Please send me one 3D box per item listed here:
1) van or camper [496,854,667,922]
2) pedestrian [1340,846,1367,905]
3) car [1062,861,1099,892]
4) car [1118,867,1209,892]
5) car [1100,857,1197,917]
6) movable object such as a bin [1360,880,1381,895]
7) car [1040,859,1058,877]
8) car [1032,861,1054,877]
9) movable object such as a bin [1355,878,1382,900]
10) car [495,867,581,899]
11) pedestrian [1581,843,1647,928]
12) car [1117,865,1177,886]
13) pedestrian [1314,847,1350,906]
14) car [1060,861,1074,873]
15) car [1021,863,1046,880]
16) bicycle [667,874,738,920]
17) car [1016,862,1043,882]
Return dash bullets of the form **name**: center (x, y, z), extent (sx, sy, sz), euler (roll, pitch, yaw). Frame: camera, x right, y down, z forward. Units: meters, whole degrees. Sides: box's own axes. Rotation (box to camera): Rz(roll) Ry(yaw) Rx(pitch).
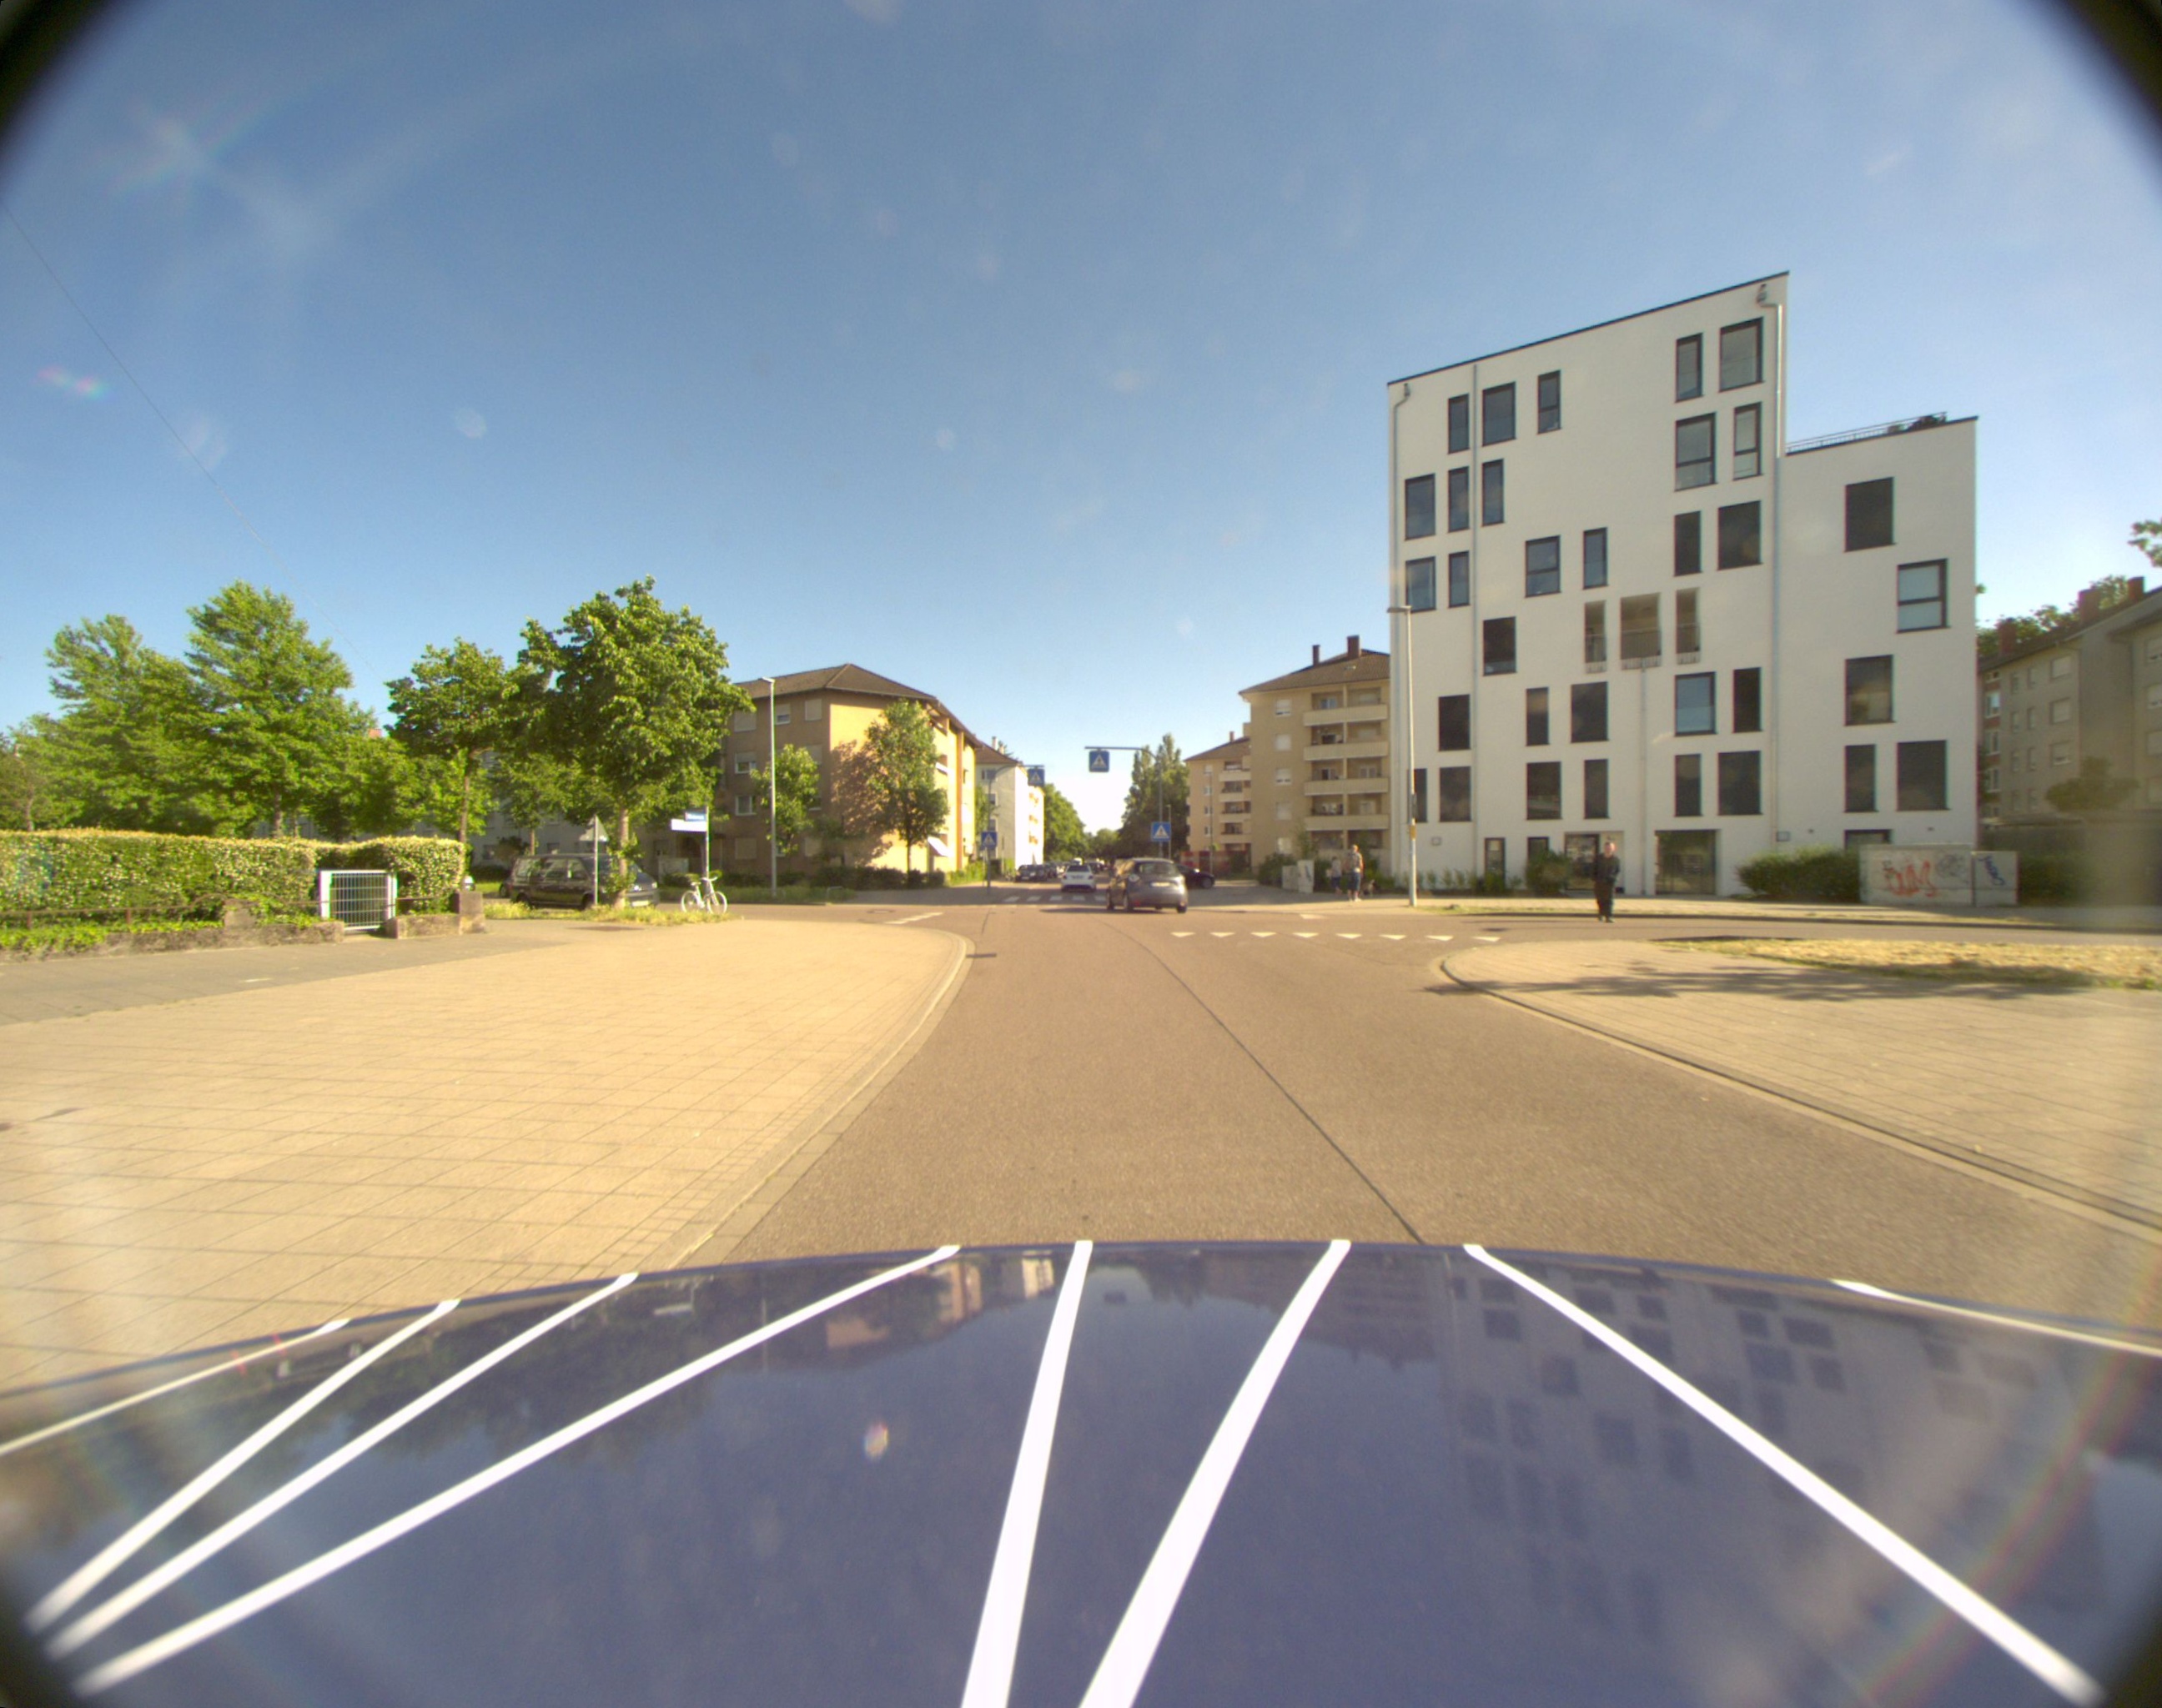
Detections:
- **van or camper**: center (-15.606, 0.968, 23.675), extent (5.372, 1.852, 1.999), euler (0, 2, 27)
- **pedestrian**: center (8.903, 0.673, 24.890), extent (0.789, 1.874, 0.847), euler (0, 2, 17)
- **car**: center (0.003, 1.186, 41.278), extent (1.890, 1.495, 4.638), euler (-1, 0, 0)
- **car**: center (4.521, 1.359, 41.508), extent (4.570, 1.160, 1.996), euler (-2, 0, -27)
- **car**: center (1.864, 0.874, 22.297), extent (1.843, 1.495, 4.134), euler (-1, 1, -9)
- **movable object such as a bin**: center (10.603, 1.223, 27.852), extent (0.273, 0.538, 0.684), euler (-1, 1, -43)
- **car**: center (-3.371, 1.469, 80.585), extent (1.845, 1.747, 4.000), euler (1, 0, -1)
- **car**: center (-3.727, 1.456, 75.184), extent (1.999, 1.455, 4.000), euler (-1, 0, 0)
- **movable object such as a bin**: center (9.848, 1.193, 26.041), extent (0.273, 0.676, 0.847), euler (-1, 2, -32)
- **car**: center (-26.777, 1.400, 37.458), extent (4.081, 1.387, 1.667), euler (0, 2, 26)
- **pedestrian**: center (11.070, 0.646, 15.810), extent (0.977, 1.704, 0.875), euler (0, 0, 23)
- **car**: center (4.986, 1.606, 57.493), extent (4.004, 1.394, 1.996), euler (-1, 2, -23)
- **pedestrian**: center (9.251, 0.818, 28.030), extent (0.776, 2.108, 0.957), euler (-1, 0, -20)
- **car**: center (-2.107, 2.028, 116.576), extent (1.999, 1.685, 3.999), euler (0, 1, 0)
- **car**: center (-3.938, 1.461, 64.070), extent (1.999, 1.237, 3.998), euler (-1, 2, -2)
- **bicycle**: center (-10.319, 1.158, 20.703), extent (2.025, 1.187, 0.530), euler (0, 1, 24)
- **car**: center (-4.011, 1.386, 58.744), extent (1.909, 1.506, 3.998), euler (1, -1, -6)
